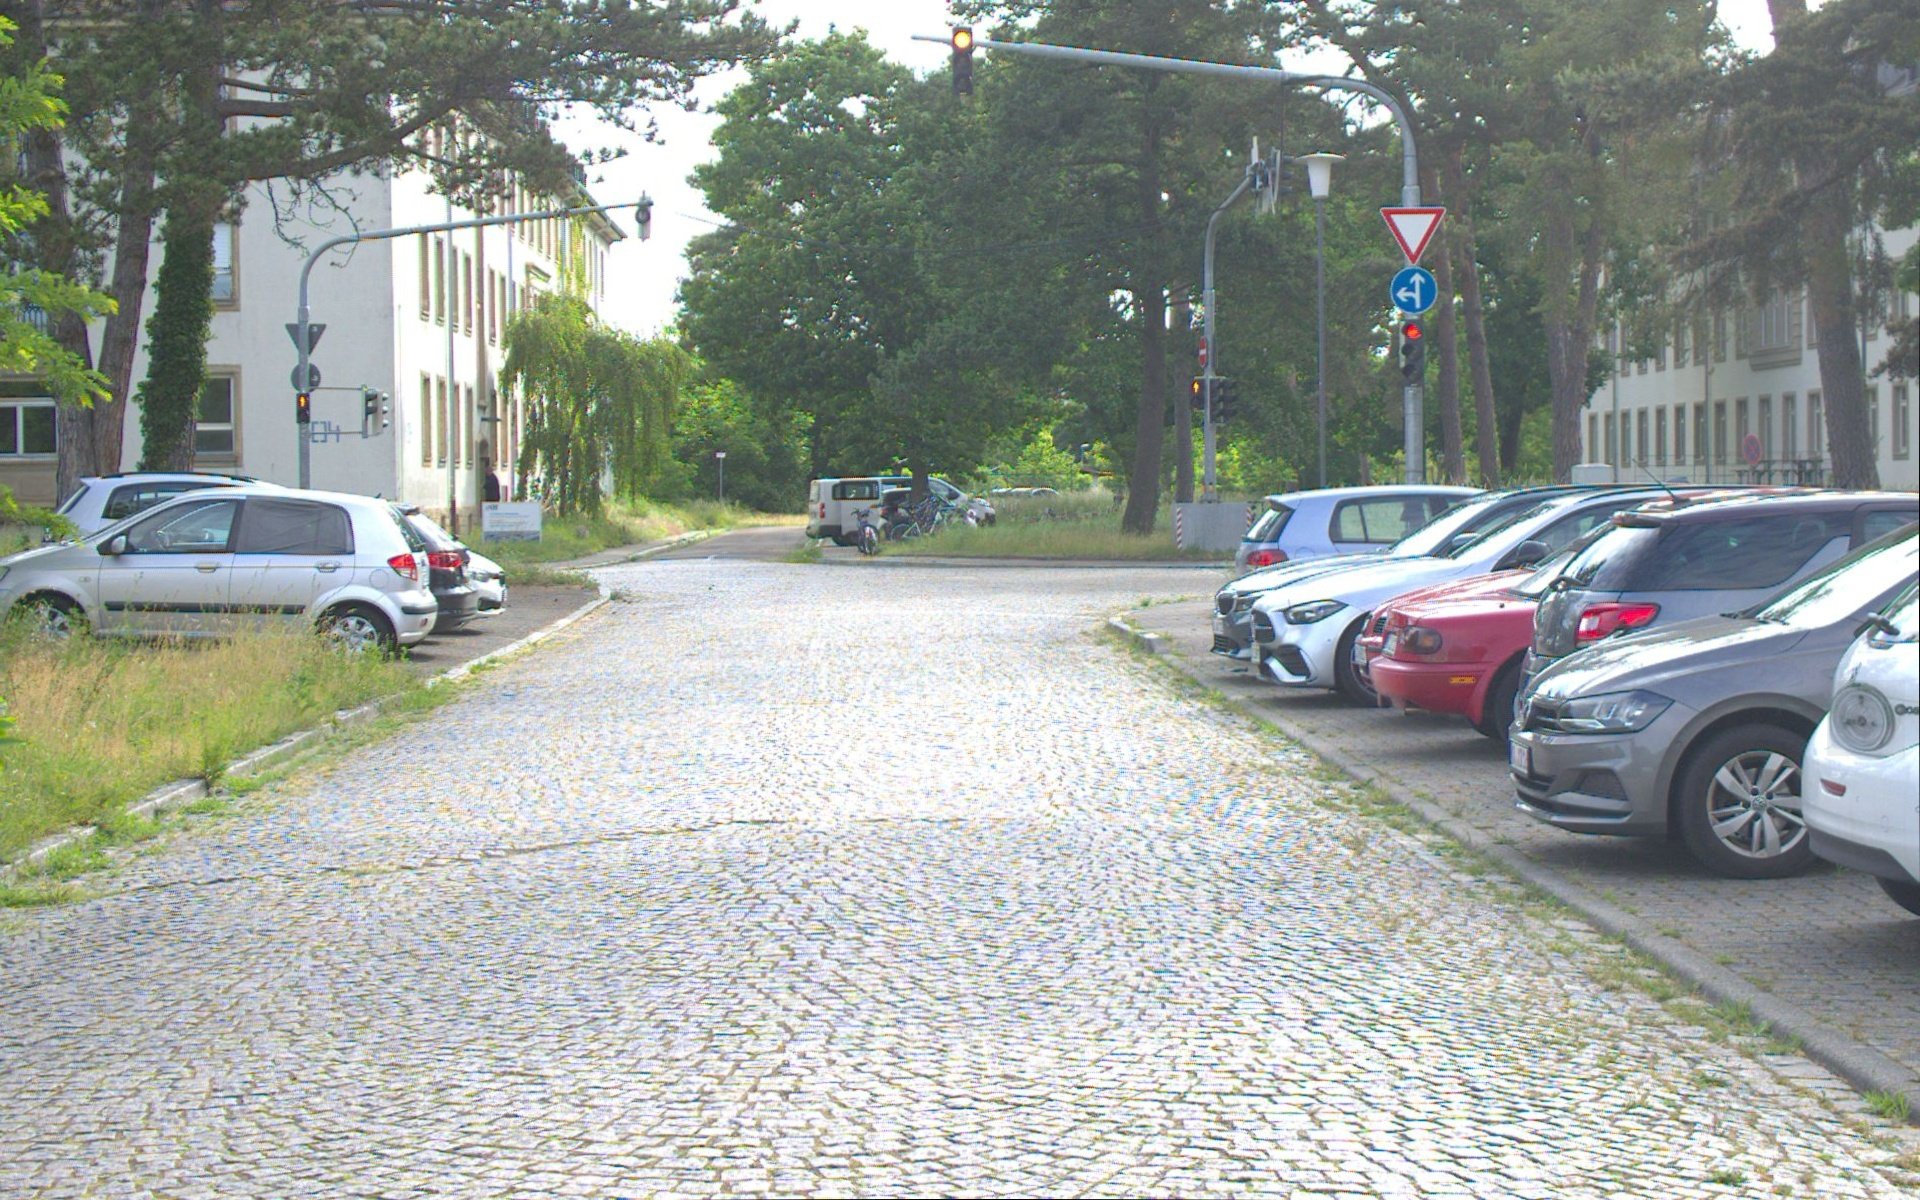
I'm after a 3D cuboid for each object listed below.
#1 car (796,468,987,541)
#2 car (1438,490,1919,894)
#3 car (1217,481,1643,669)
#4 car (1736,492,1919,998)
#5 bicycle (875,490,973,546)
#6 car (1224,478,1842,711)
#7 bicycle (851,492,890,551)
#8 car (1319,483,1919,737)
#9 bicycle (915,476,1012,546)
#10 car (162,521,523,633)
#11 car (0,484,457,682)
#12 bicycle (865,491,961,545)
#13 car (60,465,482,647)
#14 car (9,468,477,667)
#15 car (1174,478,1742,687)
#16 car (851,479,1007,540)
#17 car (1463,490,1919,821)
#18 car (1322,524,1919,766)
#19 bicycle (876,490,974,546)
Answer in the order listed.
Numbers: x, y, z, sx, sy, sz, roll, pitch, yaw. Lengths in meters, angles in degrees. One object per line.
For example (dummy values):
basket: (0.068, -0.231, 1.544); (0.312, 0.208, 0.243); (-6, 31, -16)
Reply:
car: (-1.925, -2.682, 96.287); (5.049, 2.006, 2.001); (0, 2, -12)
car: (3.968, 0.306, 14.180); (3.597, 1.501, 1.665); (-1, 2, -12)
car: (4.025, -0.241, 29.638); (3.388, 1.538, 1.391); (-1, 2, -7)
car: (4.389, 0.395, 11.204); (3.292, 1.499, 1.664); (-1, 2, -3)
bicycle: (-0.830, -1.888, 79.084); (2.160, 1.264, 0.813); (0, 2, -8)
car: (3.995, -0.075, 24.256); (3.986, 1.538, 1.665); (-1, 2, -7)
bicycle: (-1.948, -1.708, 74.713); (0.810, 1.264, 1.973); (0, 2, -1)
car: (4.442, 0.026, 22.031); (3.986, 1.538, 1.664); (0, 2, -7)
bicycle: (0.079, -2.065, 79.811); (2.160, 1.610, 0.813); (0, 2, -8)
car: (-6.498, -0.257, 36.448); (3.670, 1.090, 1.647); (-1, 2, -7)
car: (-6.222, -0.175, 28.607); (3.986, 1.546, 2.001); (-1, 2, -8)
bicycle: (-1.105, -1.918, 80.292); (2.160, 1.264, 0.813); (0, 2, -8)
car: (-6.772, -0.467, 34.147); (3.986, 1.744, 1.928); (0, 2, -8)
car: (-6.395, -0.328, 31.075); (3.986, 1.700, 2.001); (-1, 2, -8)
car: (3.875, -0.170, 27.064); (4.122, 1.538, 1.665); (-1, 2, -7)
car: (-0.859, -2.463, 93.038); (3.986, 1.638, 2.001); (0, 2, -7)
car: (4.353, 0.218, 17.067); (3.291, 1.499, 1.665); (-1, 2, -12)
car: (3.889, 0.223, 19.774); (3.291, 1.263, 1.665); (-1, 2, -7)
bicycle: (-0.808, -1.875, 78.497); (2.160, 1.264, 0.813); (0, 2, -8)
